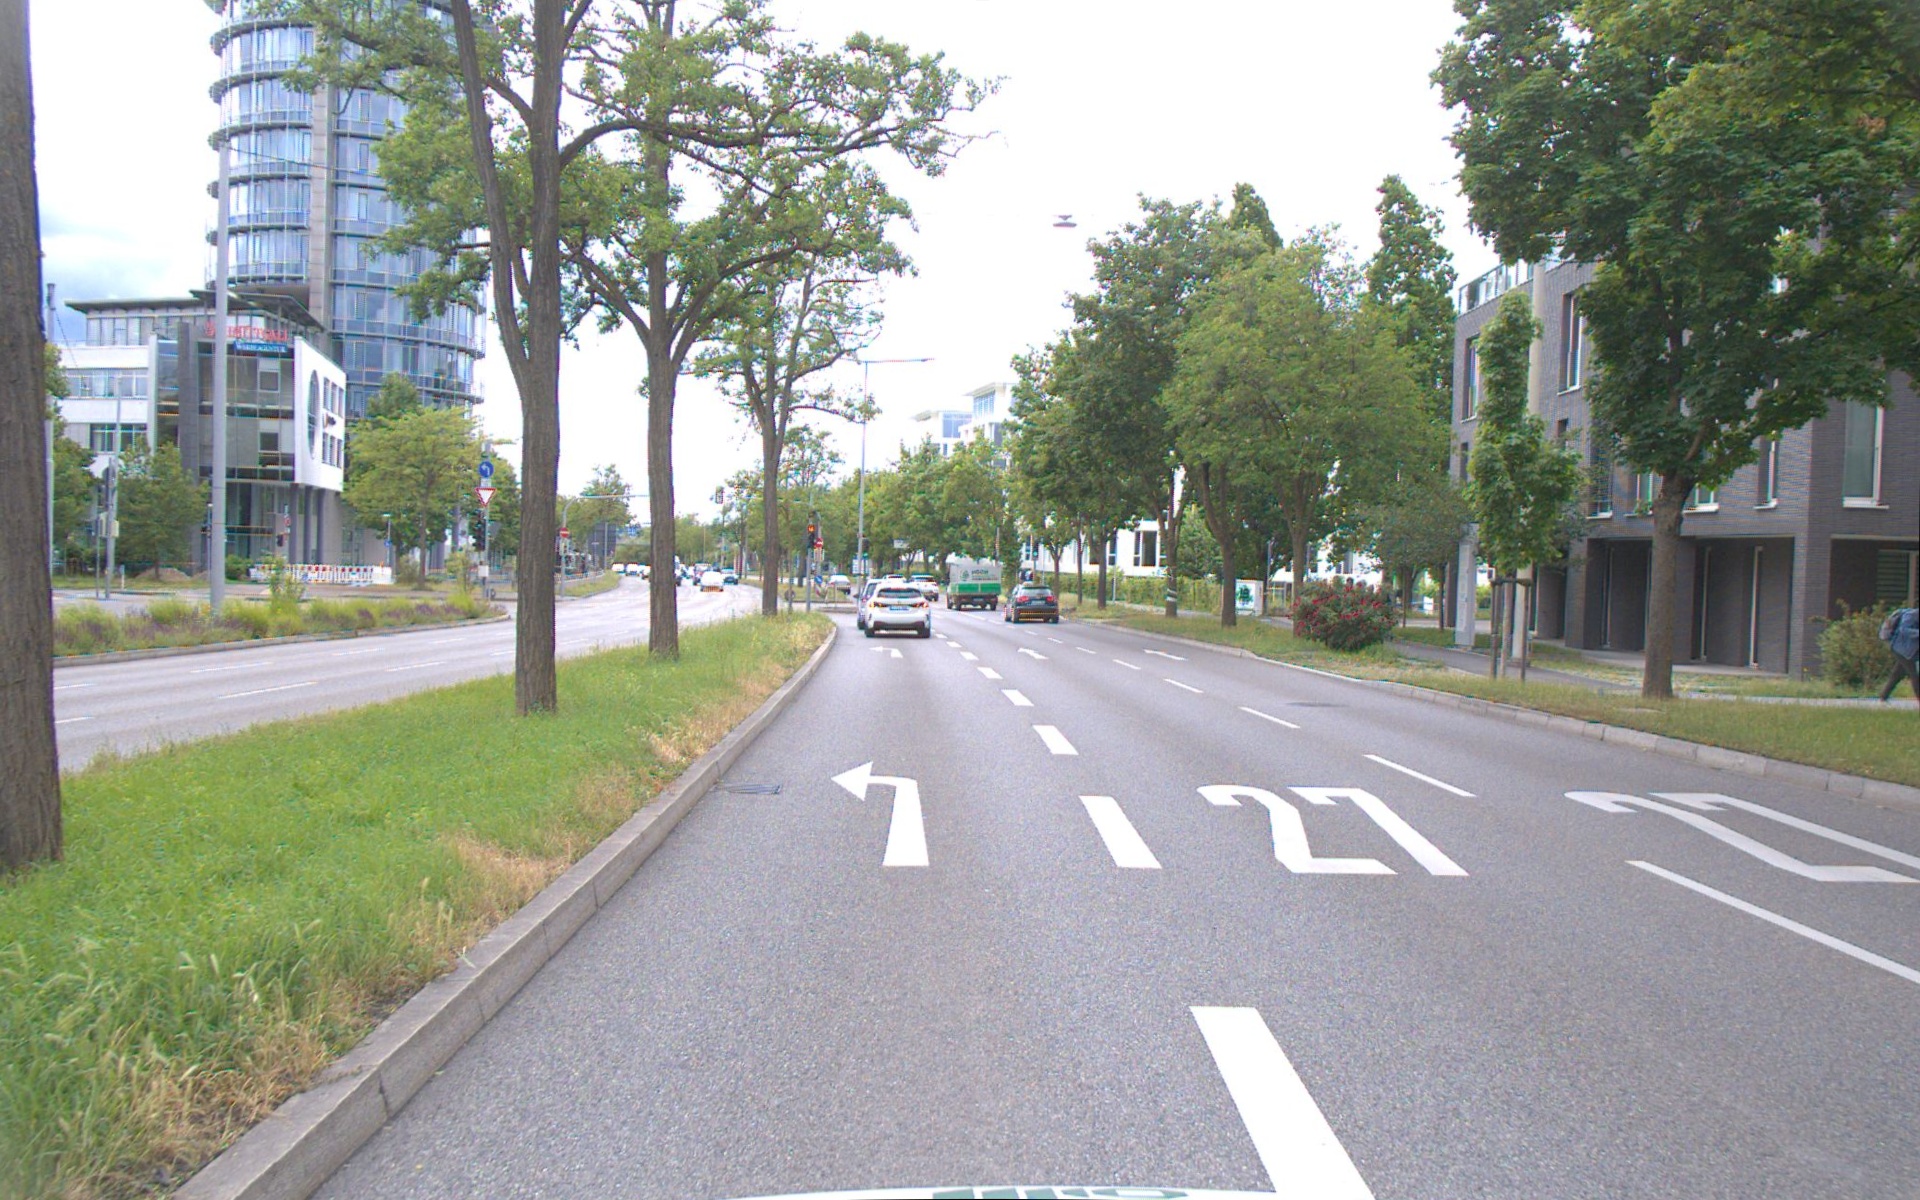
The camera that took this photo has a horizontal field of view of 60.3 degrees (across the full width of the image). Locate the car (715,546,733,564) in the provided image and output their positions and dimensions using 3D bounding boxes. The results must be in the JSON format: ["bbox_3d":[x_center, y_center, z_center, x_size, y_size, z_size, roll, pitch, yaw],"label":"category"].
[{"bbox_3d":[-29.989,-5.717,210.481,1.955,2.045,4.319,3,0,-6],"label":"car"}]

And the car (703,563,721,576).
[{"bbox_3d":[-34.242,-4.251,228.248,1.954,1.646,3.997,3,0,-3],"label":"car"}]

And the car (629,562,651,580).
[{"bbox_3d":[-36.105,-3.225,186.821,1.955,1.885,4.319,3,0,-6],"label":"car"}]

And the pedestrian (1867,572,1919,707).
[{"bbox_3d":[12.213,0.491,21.245,0.544,1.681,0.960,0,0,-6],"label":"pedestrian"}]

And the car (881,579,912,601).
[{"bbox_3d":[-4.574,-0.718,118.234,1.955,1.516,3.995,2,1,-6],"label":"car"}]

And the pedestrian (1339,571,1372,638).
[{"bbox_3d":[10.964,0.108,45.895,0.596,1.806,0.953,1,2,-3],"label":"pedestrian"}]

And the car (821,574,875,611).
[{"bbox_3d":[-4.952,-0.323,73.623,1.952,1.534,4.001,1,0,2],"label":"car"}]

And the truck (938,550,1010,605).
[{"bbox_3d":[0.625,-1.077,82.063,2.805,2.563,6.278,1,0,-7],"label":"truck"}]

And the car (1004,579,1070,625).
[{"bbox_3d":[2.864,0.038,62.342,1.955,1.624,3.996,1,1,-5],"label":"car"}]

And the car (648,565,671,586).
[{"bbox_3d":[-31.061,-2.505,171.192,1.955,2.045,4.319,3,0,-6],"label":"car"}]

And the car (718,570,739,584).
[{"bbox_3d":[-22.659,-2.226,161.847,1.719,1.395,3.777,0,1,-3],"label":"car"}]

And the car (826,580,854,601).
[{"bbox_3d":[-8.979,-0.722,123.719,1.955,1.516,3.995,2,1,-6],"label":"car"}]

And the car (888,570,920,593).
[{"bbox_3d":[-3.907,-1.304,115.194,1.955,1.534,3.996,2,1,-5],"label":"car"}]

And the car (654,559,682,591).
[{"bbox_3d":[-26.108,-2.215,148.207,1.955,2.679,5.868,3,0,-6],"label":"car"}]

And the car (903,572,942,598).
[{"bbox_3d":[-2.362,-0.956,102.655,1.956,1.534,3.993,1,1,-8],"label":"car"}]

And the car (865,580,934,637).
[{"bbox_3d":[-1.658,0.222,46.370,1.825,1.474,3.999,1,0,-1],"label":"car"}]

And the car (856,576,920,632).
[{"bbox_3d":[-2.322,0.113,53.461,1.954,1.701,3.998,1,0,-3],"label":"car"}]

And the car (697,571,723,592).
[{"bbox_3d":[-19.129,-1.417,126.558,1.719,1.469,4.129,3,0,-6],"label":"car"}]

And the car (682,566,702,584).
[{"bbox_3d":[-32.220,-2.958,198.940,1.955,2.045,4.319,3,0,-6],"label":"car"}]
